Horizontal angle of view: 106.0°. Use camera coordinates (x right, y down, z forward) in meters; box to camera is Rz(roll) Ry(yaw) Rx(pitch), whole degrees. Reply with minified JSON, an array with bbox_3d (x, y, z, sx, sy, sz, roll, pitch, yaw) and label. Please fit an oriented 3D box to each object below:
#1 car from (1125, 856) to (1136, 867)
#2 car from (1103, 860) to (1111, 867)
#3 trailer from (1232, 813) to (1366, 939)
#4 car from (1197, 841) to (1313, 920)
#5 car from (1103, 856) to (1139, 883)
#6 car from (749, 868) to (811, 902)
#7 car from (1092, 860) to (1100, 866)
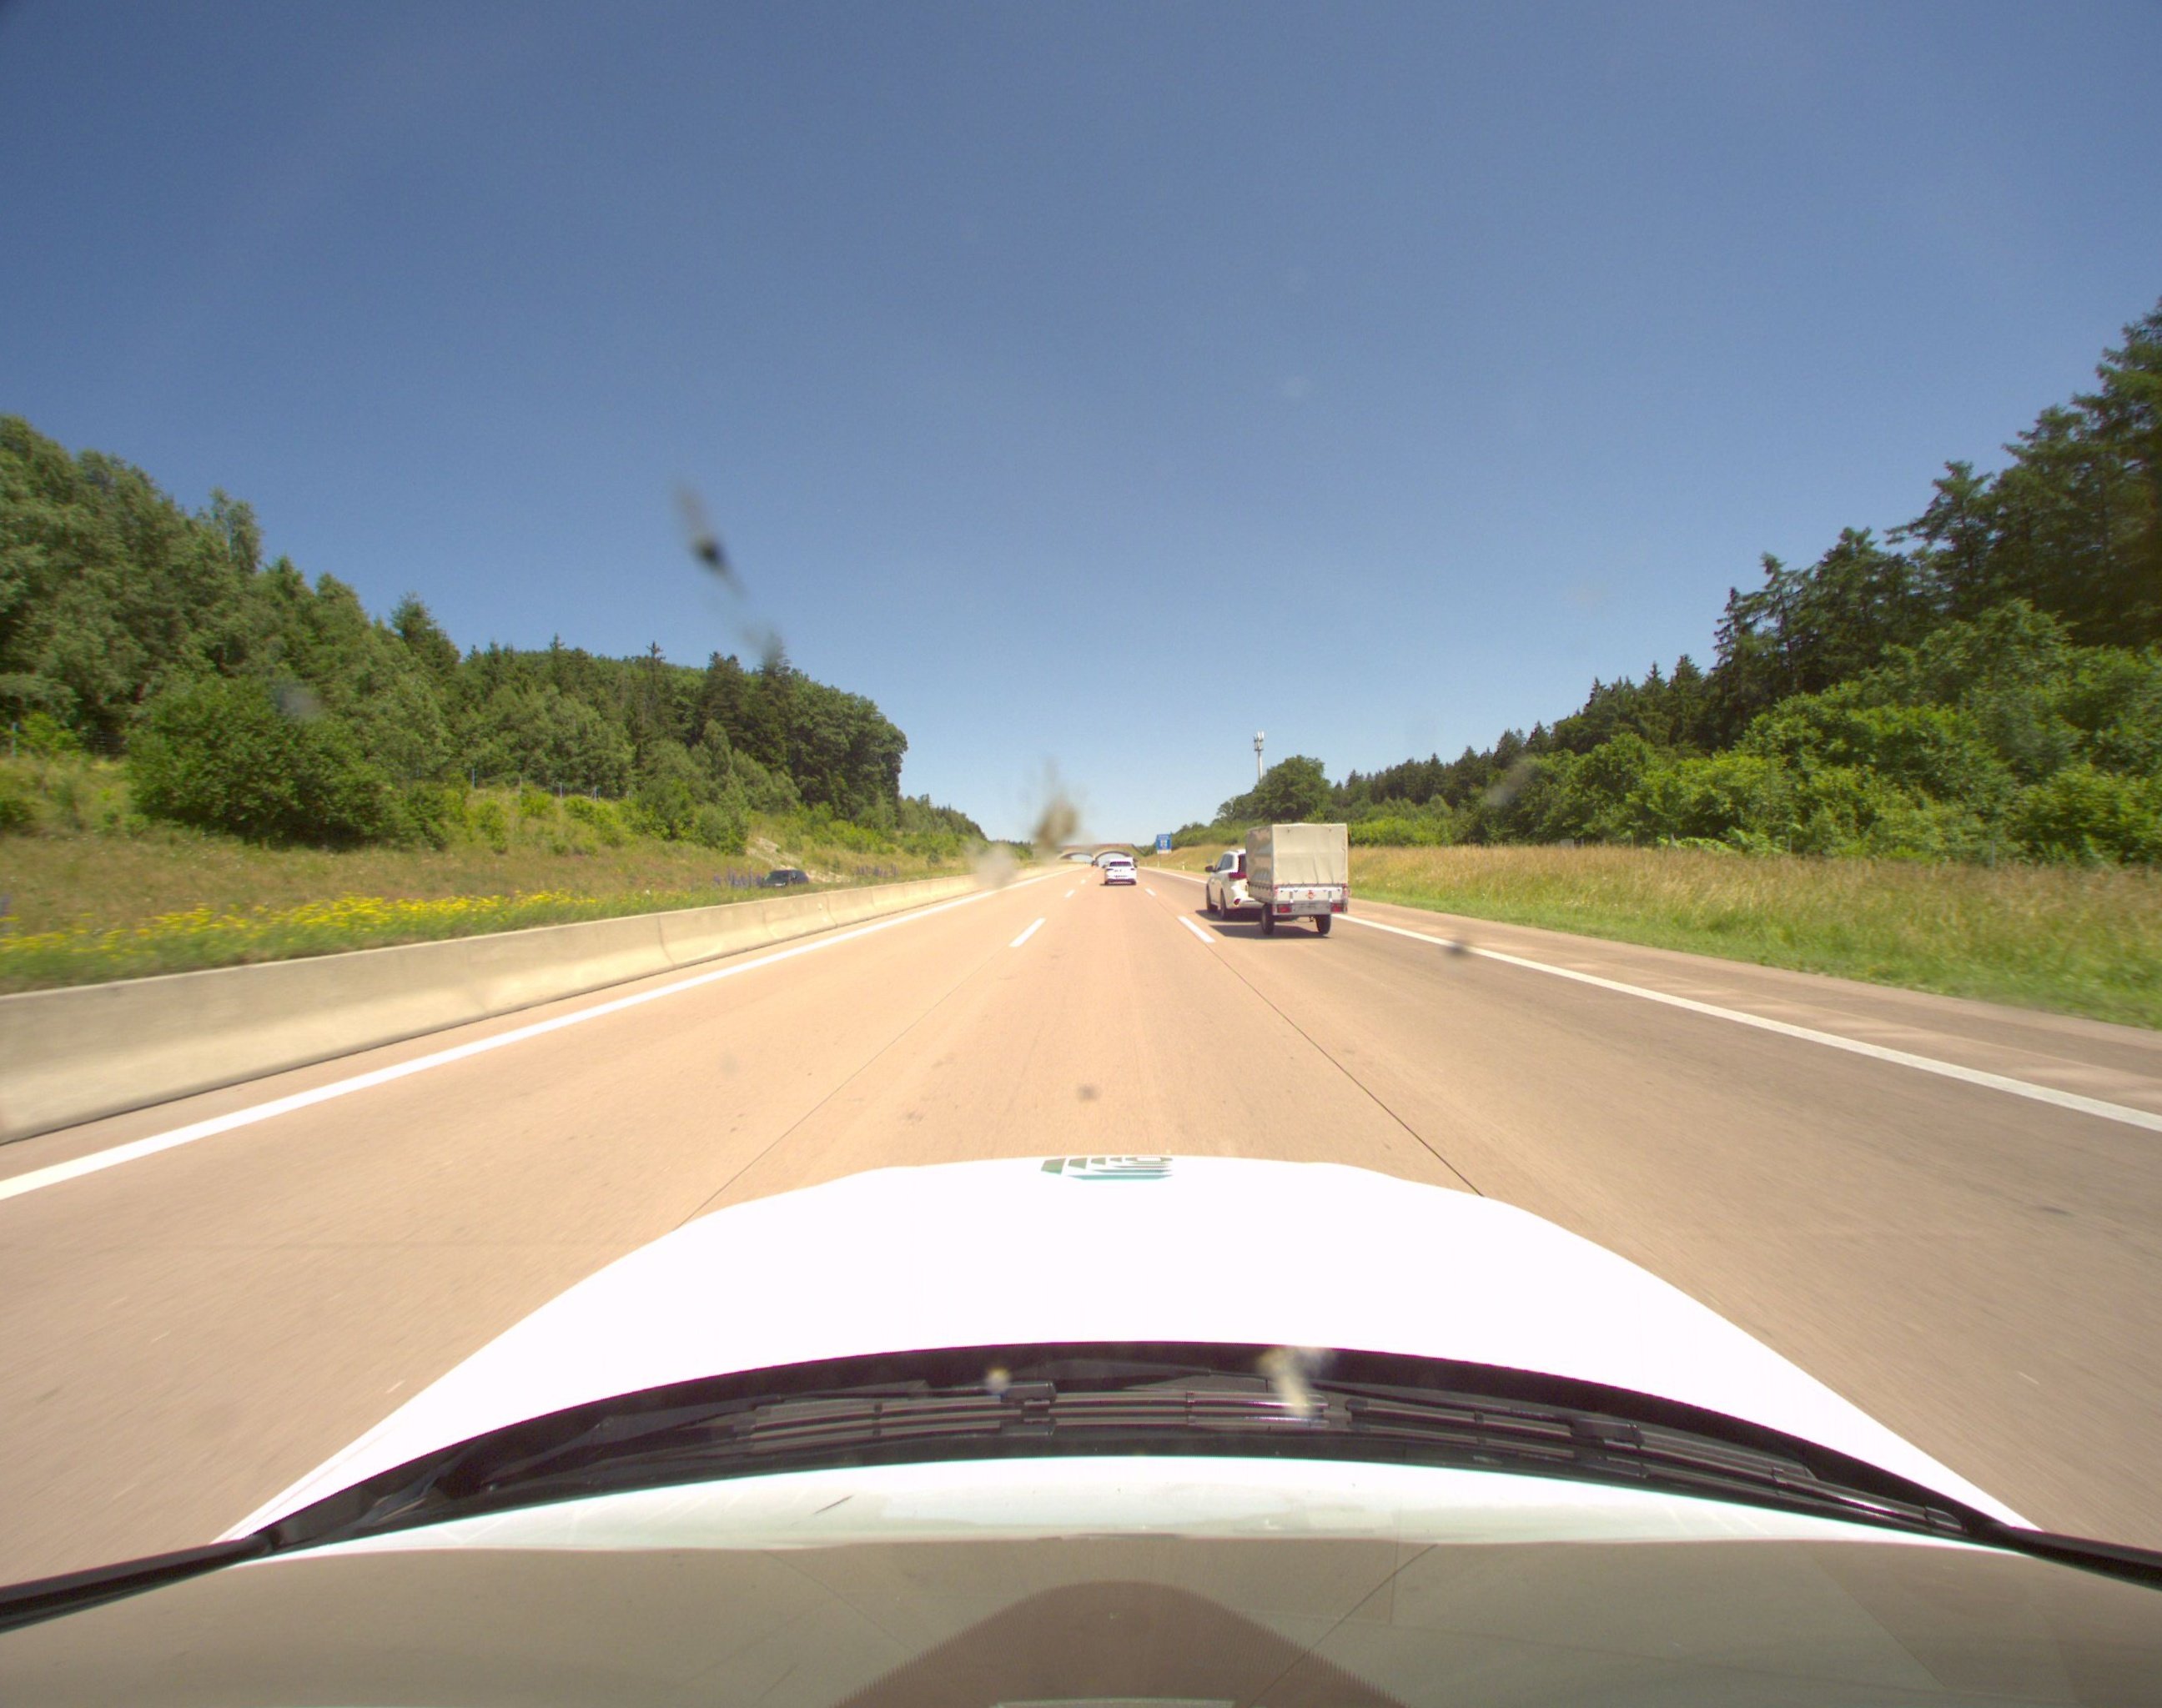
[{"bbox_3d":[9.436,1.387,155.268,2.101,2.054,4.004,-1,0,4],"label":"car"},{"bbox_3d":[6.372,2.313,200.203,1.883,1.463,4.002,0,0,2],"label":"car"},{"bbox_3d":[4.186,0.393,16.245,1.651,2.164,4.017,-1,0,1],"label":"trailer"},{"bbox_3d":[4.260,0.592,20.775,1.884,1.728,5.186,-1,0,1],"label":"car"},{"bbox_3d":[2.276,0.834,45.621,1.882,1.398,4.004,0,0,4],"label":"car"},{"bbox_3d":[-17.341,1.732,47.085,1.885,1.738,4.463,-2,0,0],"label":"car"},{"bbox_3d":[4.022,2.407,220.409,1.882,1.463,4.004,-1,0,4],"label":"car"}]
